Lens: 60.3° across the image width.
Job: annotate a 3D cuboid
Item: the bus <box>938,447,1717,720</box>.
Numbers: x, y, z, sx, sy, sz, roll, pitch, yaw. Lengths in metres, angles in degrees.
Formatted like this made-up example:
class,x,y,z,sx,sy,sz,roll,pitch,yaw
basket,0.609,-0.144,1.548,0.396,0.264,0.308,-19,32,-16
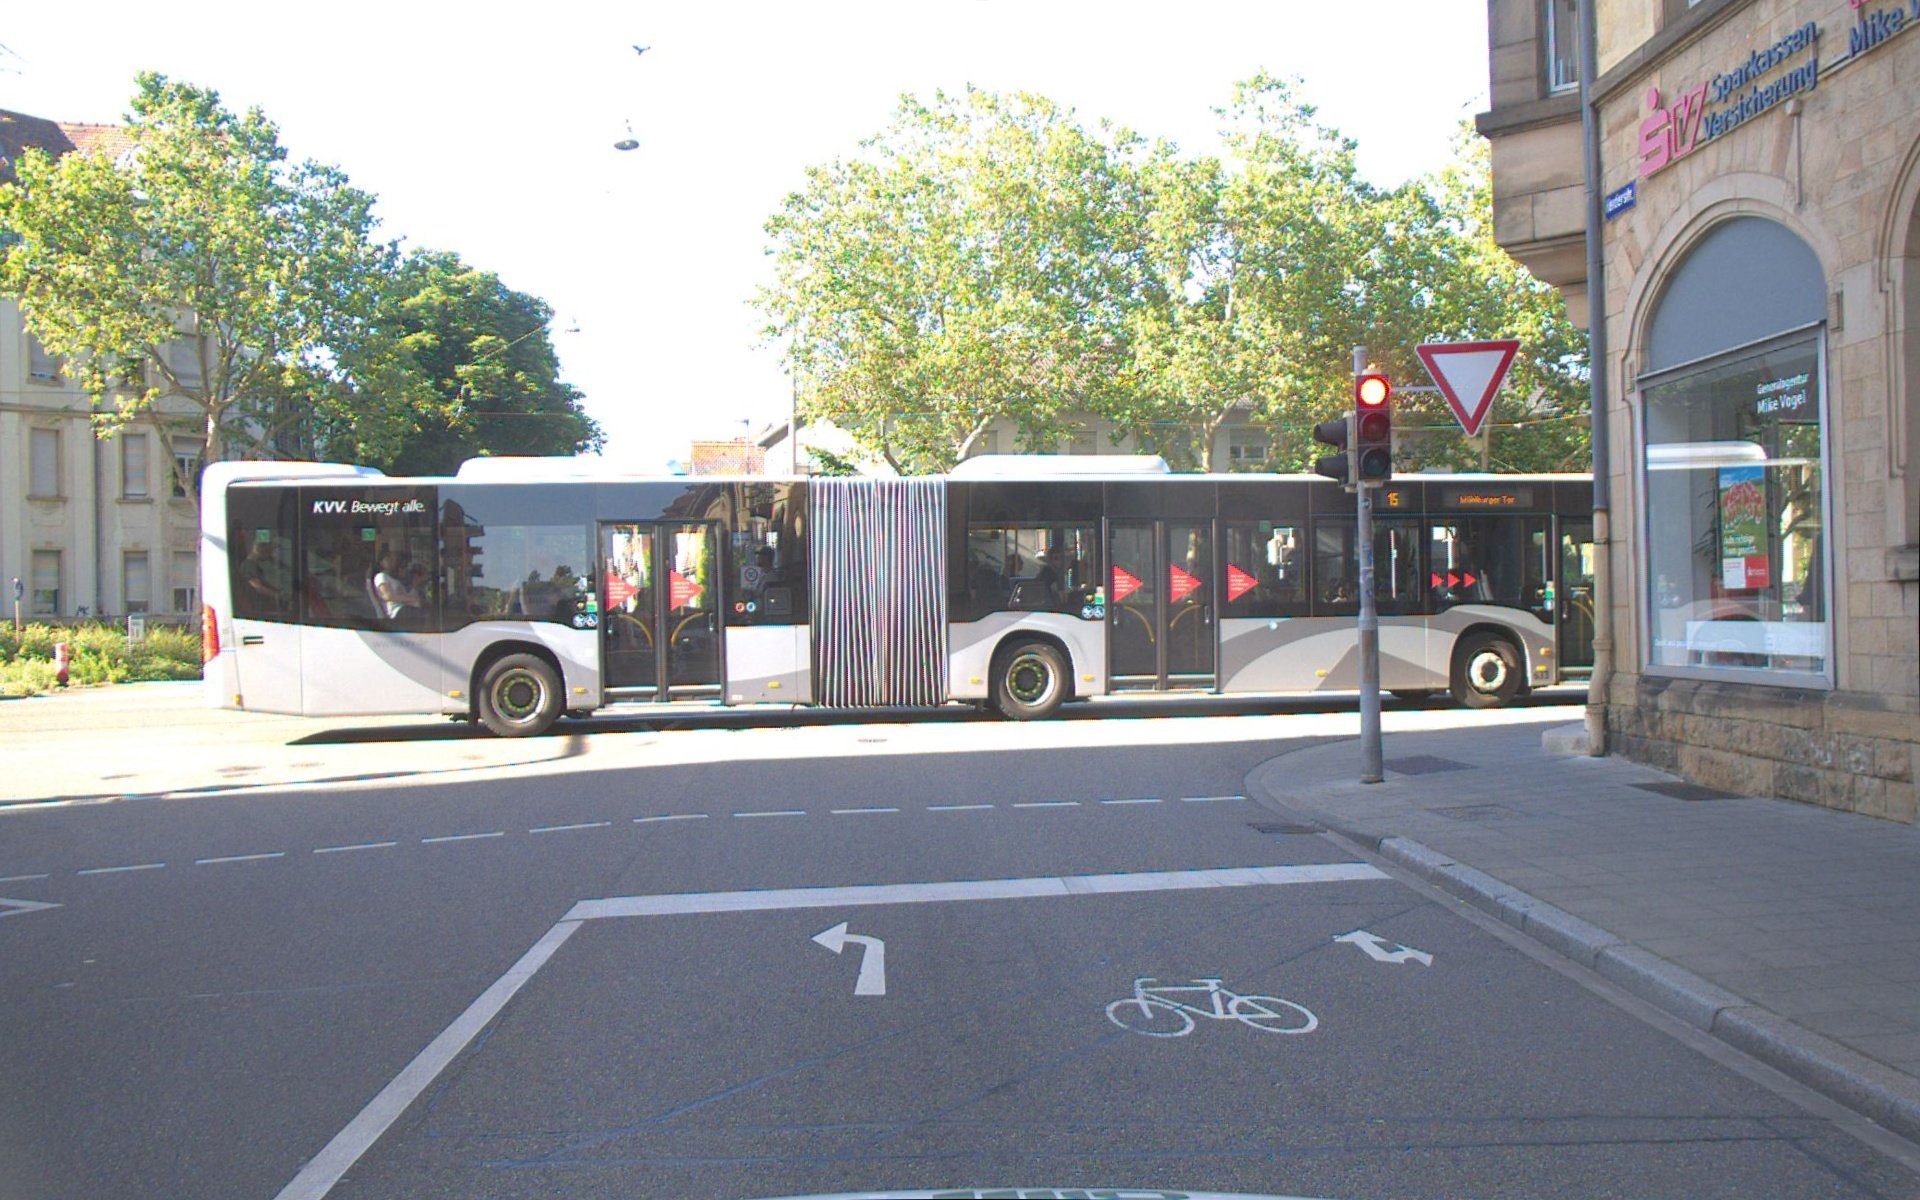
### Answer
class,x,y,z,sx,sy,sz,roll,pitch,yaw
bus,4.589,-0.259,21.286,9.443,3.150,2.740,-1,0,-9

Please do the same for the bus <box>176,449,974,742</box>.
class,x,y,z,sx,sy,sz,roll,pitch,yaw
bus,-4.335,-0.112,19.835,8.660,3.150,2.740,-1,0,-9
